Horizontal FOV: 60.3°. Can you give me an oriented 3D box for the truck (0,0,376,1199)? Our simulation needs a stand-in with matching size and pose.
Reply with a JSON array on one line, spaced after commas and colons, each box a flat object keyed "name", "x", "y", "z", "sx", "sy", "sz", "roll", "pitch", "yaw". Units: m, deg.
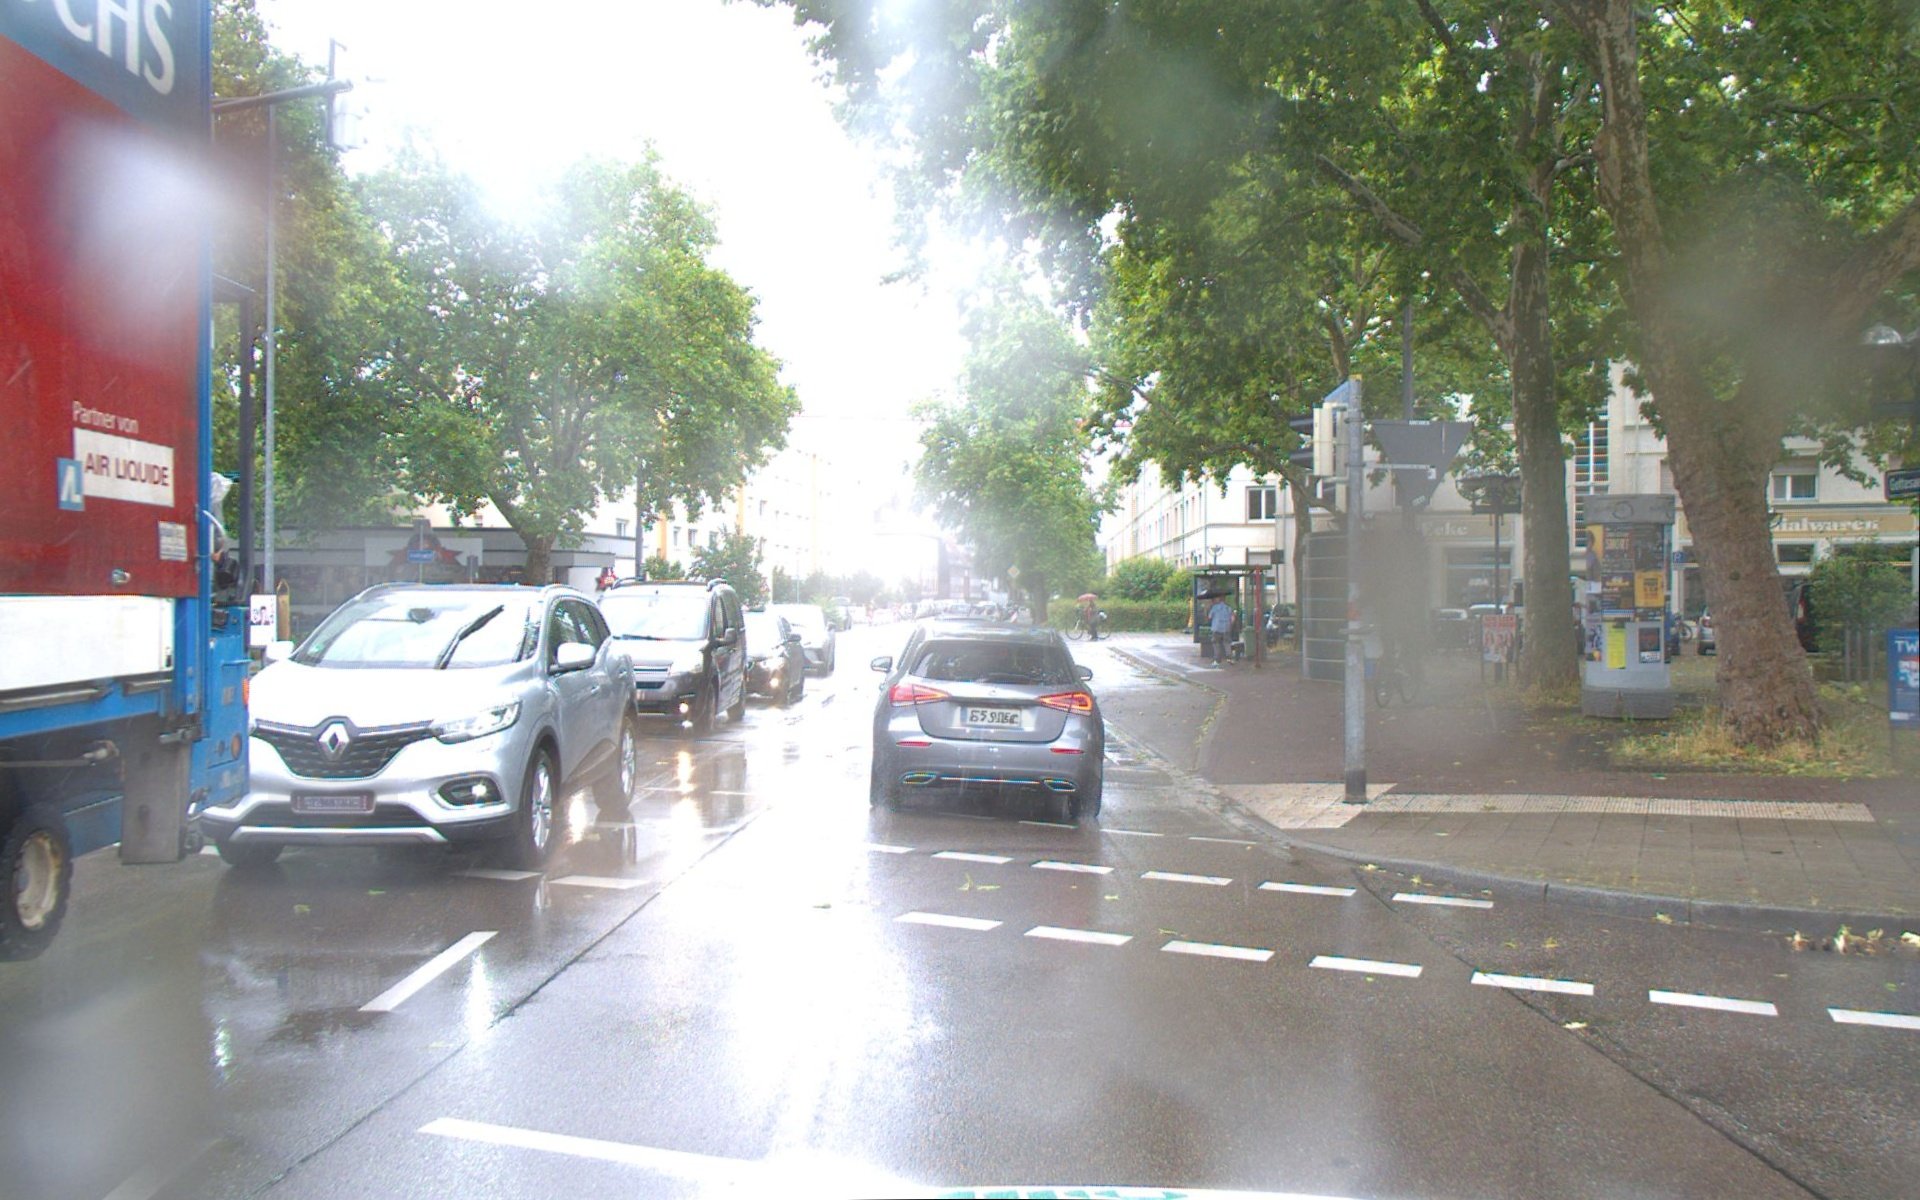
[{"name": "truck", "x": -3.309, "y": -0.593, "z": 0.664, "sx": 2.788, "sy": 4.096, "sz": 10.311, "roll": -1, "pitch": 0, "yaw": -2}]

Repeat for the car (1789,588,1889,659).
[{"name": "car", "x": 24.330, "y": 0.695, "z": 45.917, "sx": 2.111, "sy": 1.870, "sz": 3.998, "roll": -1, "pitch": -2, "yaw": 24}]

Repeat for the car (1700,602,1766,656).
[{"name": "car", "x": 22.246, "y": 0.865, "z": 47.618, "sx": 1.646, "sy": 1.457, "sz": 3.732, "roll": -1, "pitch": -3, "yaw": 25}]

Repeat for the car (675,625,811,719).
[{"name": "car", "x": -3.537, "y": 1.136, "z": 27.645, "sx": 1.707, "sy": 1.414, "sz": 4.362, "roll": 1, "pitch": -1, "yaw": 0}]

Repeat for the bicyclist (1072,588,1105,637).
[{"name": "bicyclist", "x": 5.074, "y": 0.502, "z": 65.383, "sx": 0.924, "sy": 1.901, "sz": 1.136, "roll": 0, "pitch": -1, "yaw": -19}]

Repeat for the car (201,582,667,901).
[{"name": "car", "x": -3.064, "y": 0.729, "z": 10.527, "sx": 1.707, "sy": 1.632, "sz": 4.000, "roll": 0, "pitch": 0, "yaw": 0}]

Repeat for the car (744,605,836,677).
[{"name": "car", "x": -3.823, "y": 0.896, "z": 37.785, "sx": 1.808, "sy": 1.536, "sz": 4.054, "roll": 0, "pitch": 0, "yaw": -2}]

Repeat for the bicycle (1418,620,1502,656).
[{"name": "bicycle", "x": 13.907, "y": 1.054, "z": 46.003, "sx": 2.206, "sy": 0.985, "sz": 0.534, "roll": 0, "pitch": 0, "yaw": 23}]

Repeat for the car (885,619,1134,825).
[{"name": "car", "x": 0.332, "y": 0.893, "z": 13.566, "sx": 1.755, "sy": 1.396, "sz": 3.506, "roll": 1, "pitch": 0, "yaw": -1}]

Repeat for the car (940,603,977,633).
[{"name": "car", "x": -0.116, "y": 0.981, "z": 91.493, "sx": 1.953, "sy": 1.601, "sz": 3.998, "roll": 0, "pitch": 0, "yaw": -2}]

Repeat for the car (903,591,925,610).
[{"name": "car", "x": -4.662, "y": 0.079, "z": 167.361, "sx": 1.850, "sy": 1.868, "sz": 4.001, "roll": 0, "pitch": 0, "yaw": 3}]

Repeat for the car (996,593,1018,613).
[{"name": "car", "x": 4.566, "y": 0.306, "z": 159.842, "sx": 2.004, "sy": 1.868, "sz": 4.794, "roll": 0, "pitch": 0, "yaw": 3}]

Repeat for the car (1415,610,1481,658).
[{"name": "car", "x": 14.735, "y": 1.047, "z": 49.891, "sx": 1.550, "sy": 1.360, "sz": 3.260, "roll": -1, "pitch": -2, "yaw": 23}]

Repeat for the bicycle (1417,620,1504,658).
[{"name": "bicycle", "x": 13.700, "y": 1.059, "z": 45.315, "sx": 2.235, "sy": 1.000, "sz": 0.545, "roll": 0, "pitch": 0, "yaw": 23}]

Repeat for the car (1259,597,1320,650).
[{"name": "car", "x": 10.309, "y": 0.766, "z": 51.591, "sx": 1.652, "sy": 1.578, "sz": 3.525, "roll": 0, "pitch": -2, "yaw": 14}]

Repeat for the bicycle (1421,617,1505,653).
[{"name": "bicycle", "x": 14.195, "y": 0.986, "z": 46.698, "sx": 2.201, "sy": 0.985, "sz": 0.585, "roll": 0, "pitch": 0, "yaw": 23}]

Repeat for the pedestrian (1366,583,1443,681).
[{"name": "pedestrian", "x": 6.634, "y": 0.466, "z": 24.670, "sx": 0.732, "sy": 1.422, "sz": 1.042, "roll": -1, "pitch": 0, "yaw": 39}]

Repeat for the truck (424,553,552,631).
[{"name": "truck", "x": -22.935, "y": -0.391, "z": 80.505, "sx": 5.562, "sy": 3.709, "sz": 2.176, "roll": 0, "pitch": -1, "yaw": 3}]

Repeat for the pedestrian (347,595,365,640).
[{"name": "pedestrian", "x": -22.539, "y": 0.653, "z": 61.743, "sx": 0.560, "sy": 1.657, "sz": 0.638, "roll": 0, "pitch": -1, "yaw": -15}]

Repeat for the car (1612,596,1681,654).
[{"name": "car", "x": 19.776, "y": 0.716, "z": 47.761, "sx": 1.644, "sy": 1.603, "sz": 3.736, "roll": 0, "pitch": -1, "yaw": 19}]

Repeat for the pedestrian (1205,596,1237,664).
[{"name": "pedestrian", "x": 6.525, "y": 0.745, "z": 41.339, "sx": 0.701, "sy": 1.698, "sz": 0.665, "roll": 0, "pitch": -1, "yaw": 2}]

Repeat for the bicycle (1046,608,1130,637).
[{"name": "bicycle", "x": 5.072, "y": 0.888, "z": 65.429, "sx": 3.158, "sy": 1.131, "sz": 1.048, "roll": 0, "pitch": -1, "yaw": -20}]

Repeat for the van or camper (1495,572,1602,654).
[{"name": "van or camper", "x": 17.520, "y": 0.377, "z": 49.052, "sx": 2.350, "sy": 2.270, "sz": 5.424, "roll": -1, "pitch": 0, "yaw": 27}]

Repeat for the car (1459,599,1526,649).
[{"name": "car", "x": 19.427, "y": 0.852, "z": 60.217, "sx": 1.953, "sy": 1.656, "sz": 4.630, "roll": 3, "pitch": 1, "yaw": 22}]

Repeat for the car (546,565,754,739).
[{"name": "car", "x": -3.634, "y": 0.568, "z": 20.068, "sx": 1.770, "sy": 1.894, "sz": 4.109, "roll": 0, "pitch": 0, "yaw": 0}]

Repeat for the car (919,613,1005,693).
[{"name": "car", "x": 0.015, "y": 0.994, "z": 32.494, "sx": 1.574, "sy": 1.396, "sz": 3.999, "roll": -1, "pitch": 0, "yaw": -1}]

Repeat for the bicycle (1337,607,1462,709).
[{"name": "bicycle", "x": 6.557, "y": 0.825, "z": 24.570, "sx": 0.737, "sy": 1.401, "sz": 2.694, "roll": -1, "pitch": 0, "yaw": 39}]
